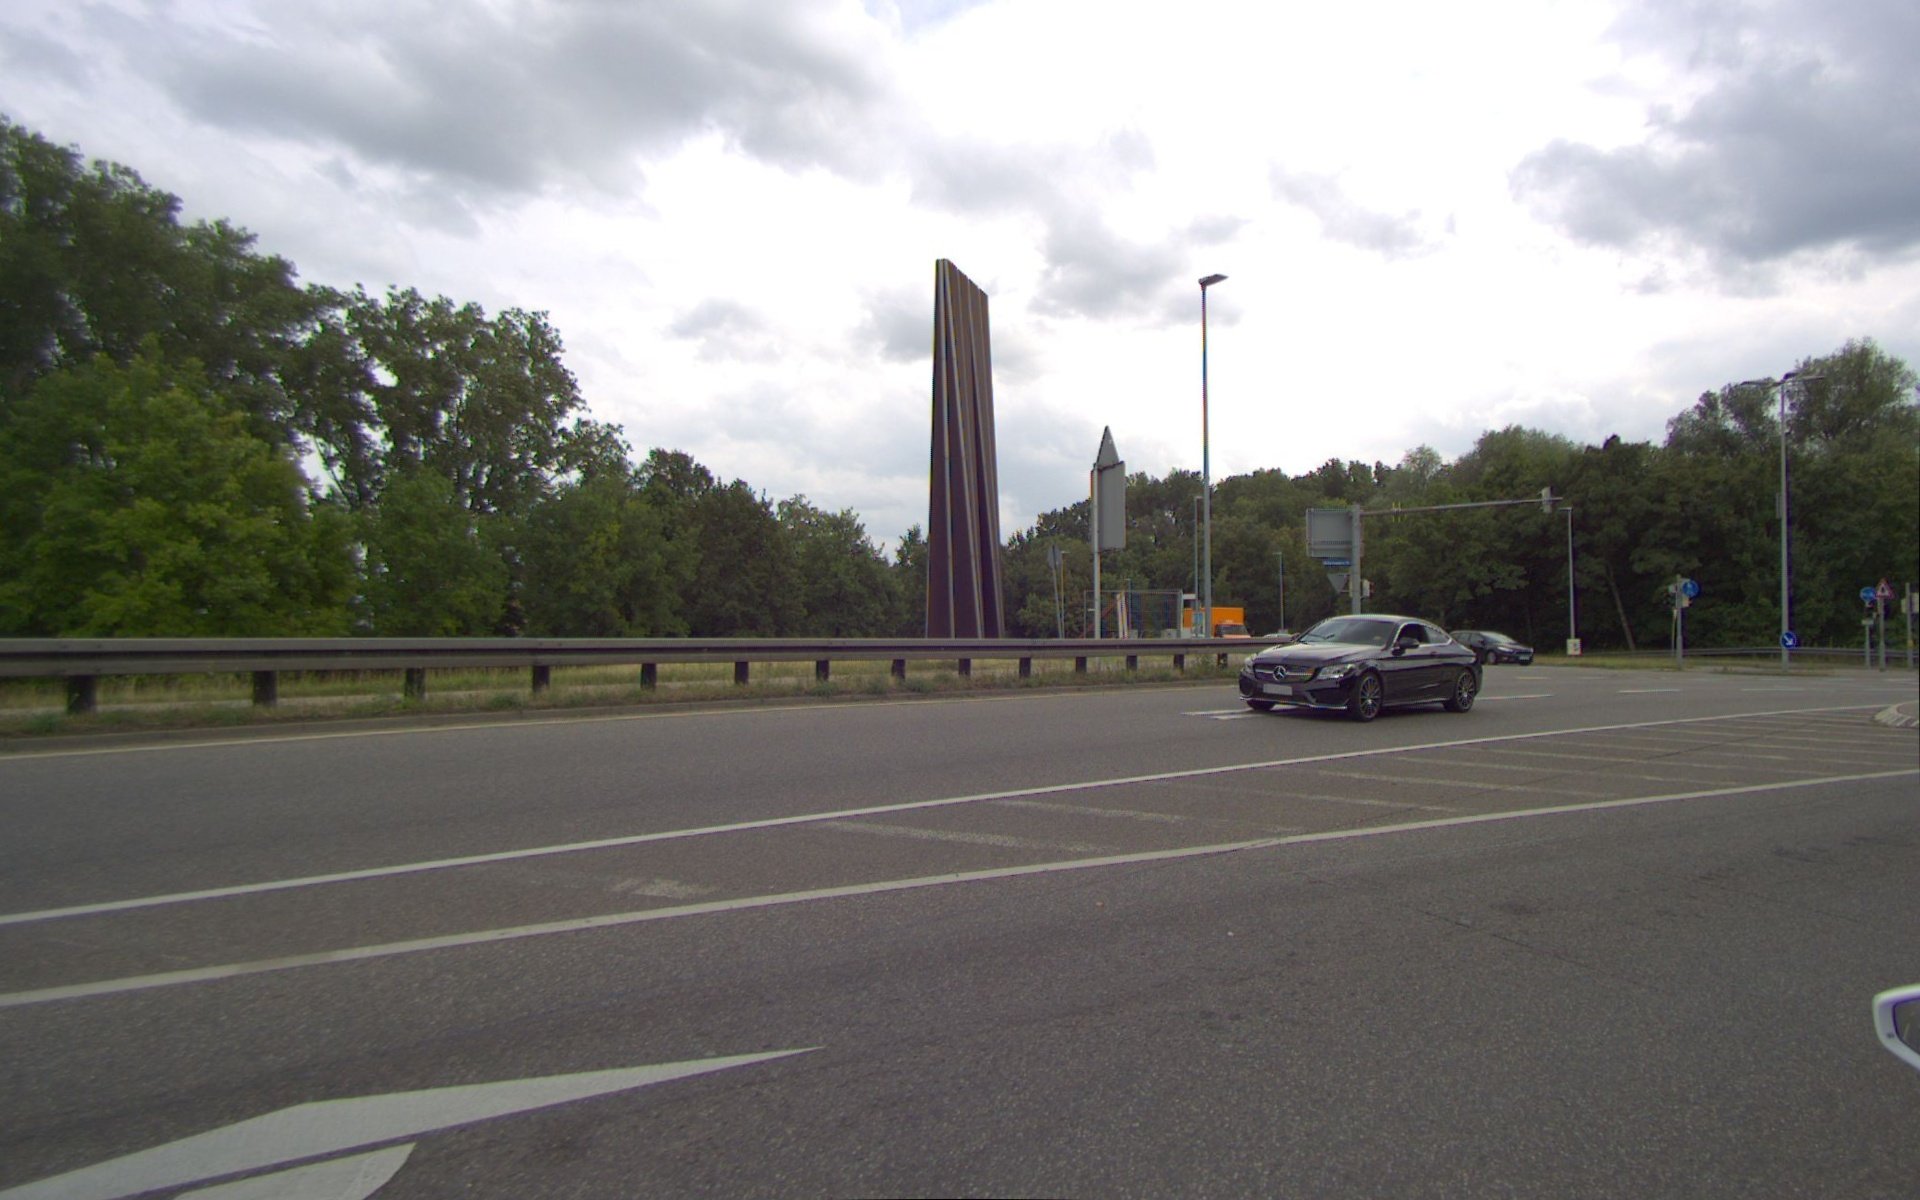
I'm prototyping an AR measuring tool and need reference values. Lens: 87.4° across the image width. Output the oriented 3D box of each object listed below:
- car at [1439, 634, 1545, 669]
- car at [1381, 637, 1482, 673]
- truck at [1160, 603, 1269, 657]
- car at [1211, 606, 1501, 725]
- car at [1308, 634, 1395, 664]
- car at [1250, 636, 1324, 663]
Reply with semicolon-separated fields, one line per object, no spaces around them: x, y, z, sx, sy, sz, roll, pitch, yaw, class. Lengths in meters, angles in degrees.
23.230;2.224;44.044;1.965;1.327;4.062;1;-1;-12;car
19.914;2.299;42.608;1.965;1.327;3.798;1;-1;-12;car
16.312;1.882;65.229;2.921;3.177;9.253;1;-1;-13;truck
5.919;0.883;14.768;4.614;1.474;1.977;2;-1;-39;car
19.371;2.419;49.916;1.965;1.327;4.328;1;-1;-12;car
17.947;2.694;55.396;1.965;1.327;4.328;1;-1;-12;car
